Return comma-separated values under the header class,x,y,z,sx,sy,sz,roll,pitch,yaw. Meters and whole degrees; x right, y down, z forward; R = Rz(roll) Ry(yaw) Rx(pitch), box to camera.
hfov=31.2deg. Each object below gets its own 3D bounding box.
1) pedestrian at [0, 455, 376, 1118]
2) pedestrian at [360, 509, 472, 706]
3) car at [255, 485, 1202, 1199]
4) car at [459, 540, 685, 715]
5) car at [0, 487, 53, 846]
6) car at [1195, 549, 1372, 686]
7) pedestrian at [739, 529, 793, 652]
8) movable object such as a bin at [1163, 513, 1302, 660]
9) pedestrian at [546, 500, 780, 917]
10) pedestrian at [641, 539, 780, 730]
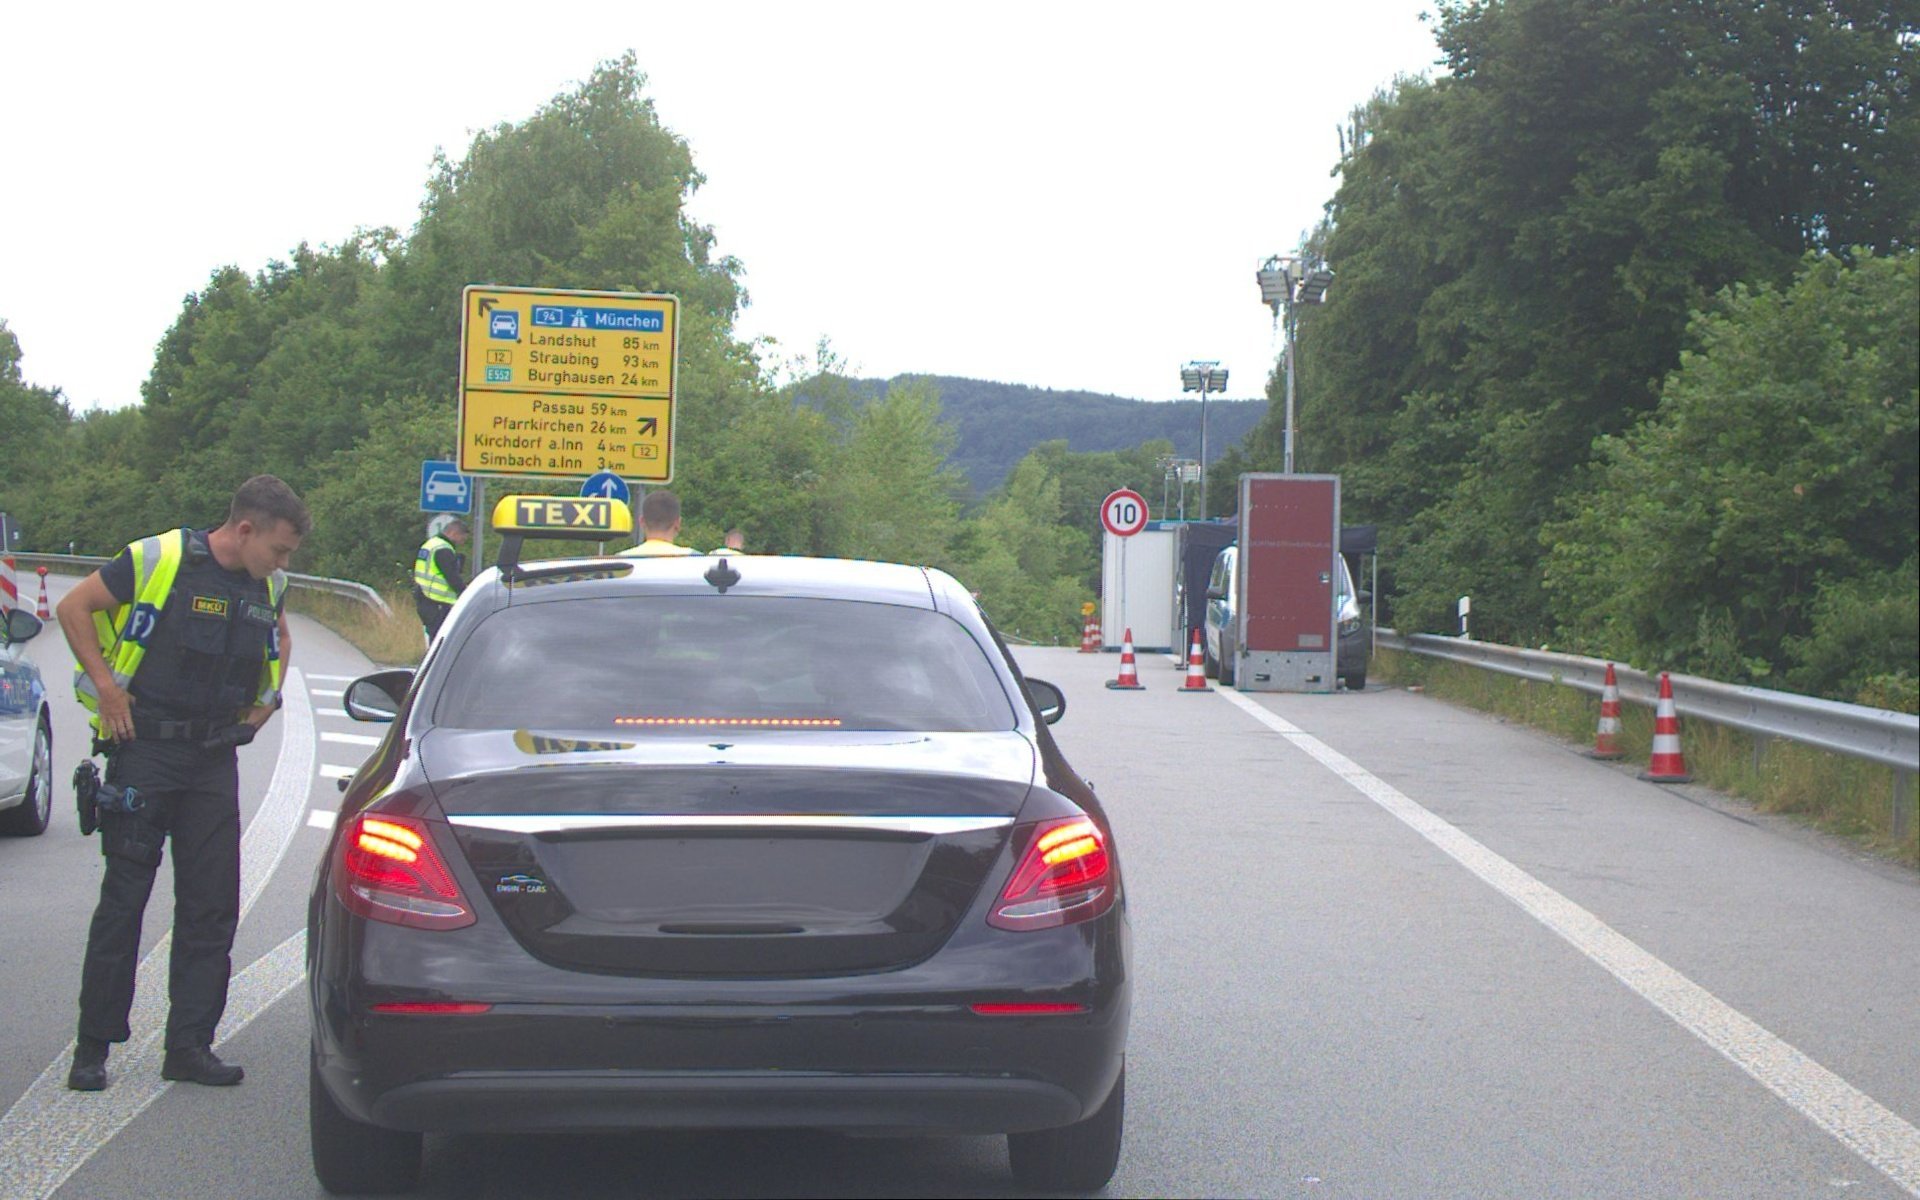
class,x,y,z,sx,sy,sz,roll,pitch,yaw
pedestrian,-2.127,0.474,9.415,0.760,1.712,0.818,0,1,-35
pedestrian,-4.962,0.064,31.390,0.910,1.763,0.912,1,1,-4
car,-0.656,0.542,8.975,1.855,1.589,4.376,1,1,-5
car,-3.521,0.204,31.805,1.855,1.493,4.257,1,1,-4
car,-5.514,0.326,15.893,1.868,1.737,4.009,1,1,-5
car,4.349,0.190,46.854,1.916,1.672,5.083,2,1,1
pedestrian,-3.112,-0.158,55.164,0.664,1.954,0.759,0,1,15
movable object such as a bin,4.372,-0.238,55.693,1.993,2.272,4.168,1,1,2
pedestrian,-1.333,0.466,15.519,0.813,1.824,0.809,0,1,16
pedestrian,-2.255,0.303,31.065,0.908,1.692,0.914,1,0,-32
